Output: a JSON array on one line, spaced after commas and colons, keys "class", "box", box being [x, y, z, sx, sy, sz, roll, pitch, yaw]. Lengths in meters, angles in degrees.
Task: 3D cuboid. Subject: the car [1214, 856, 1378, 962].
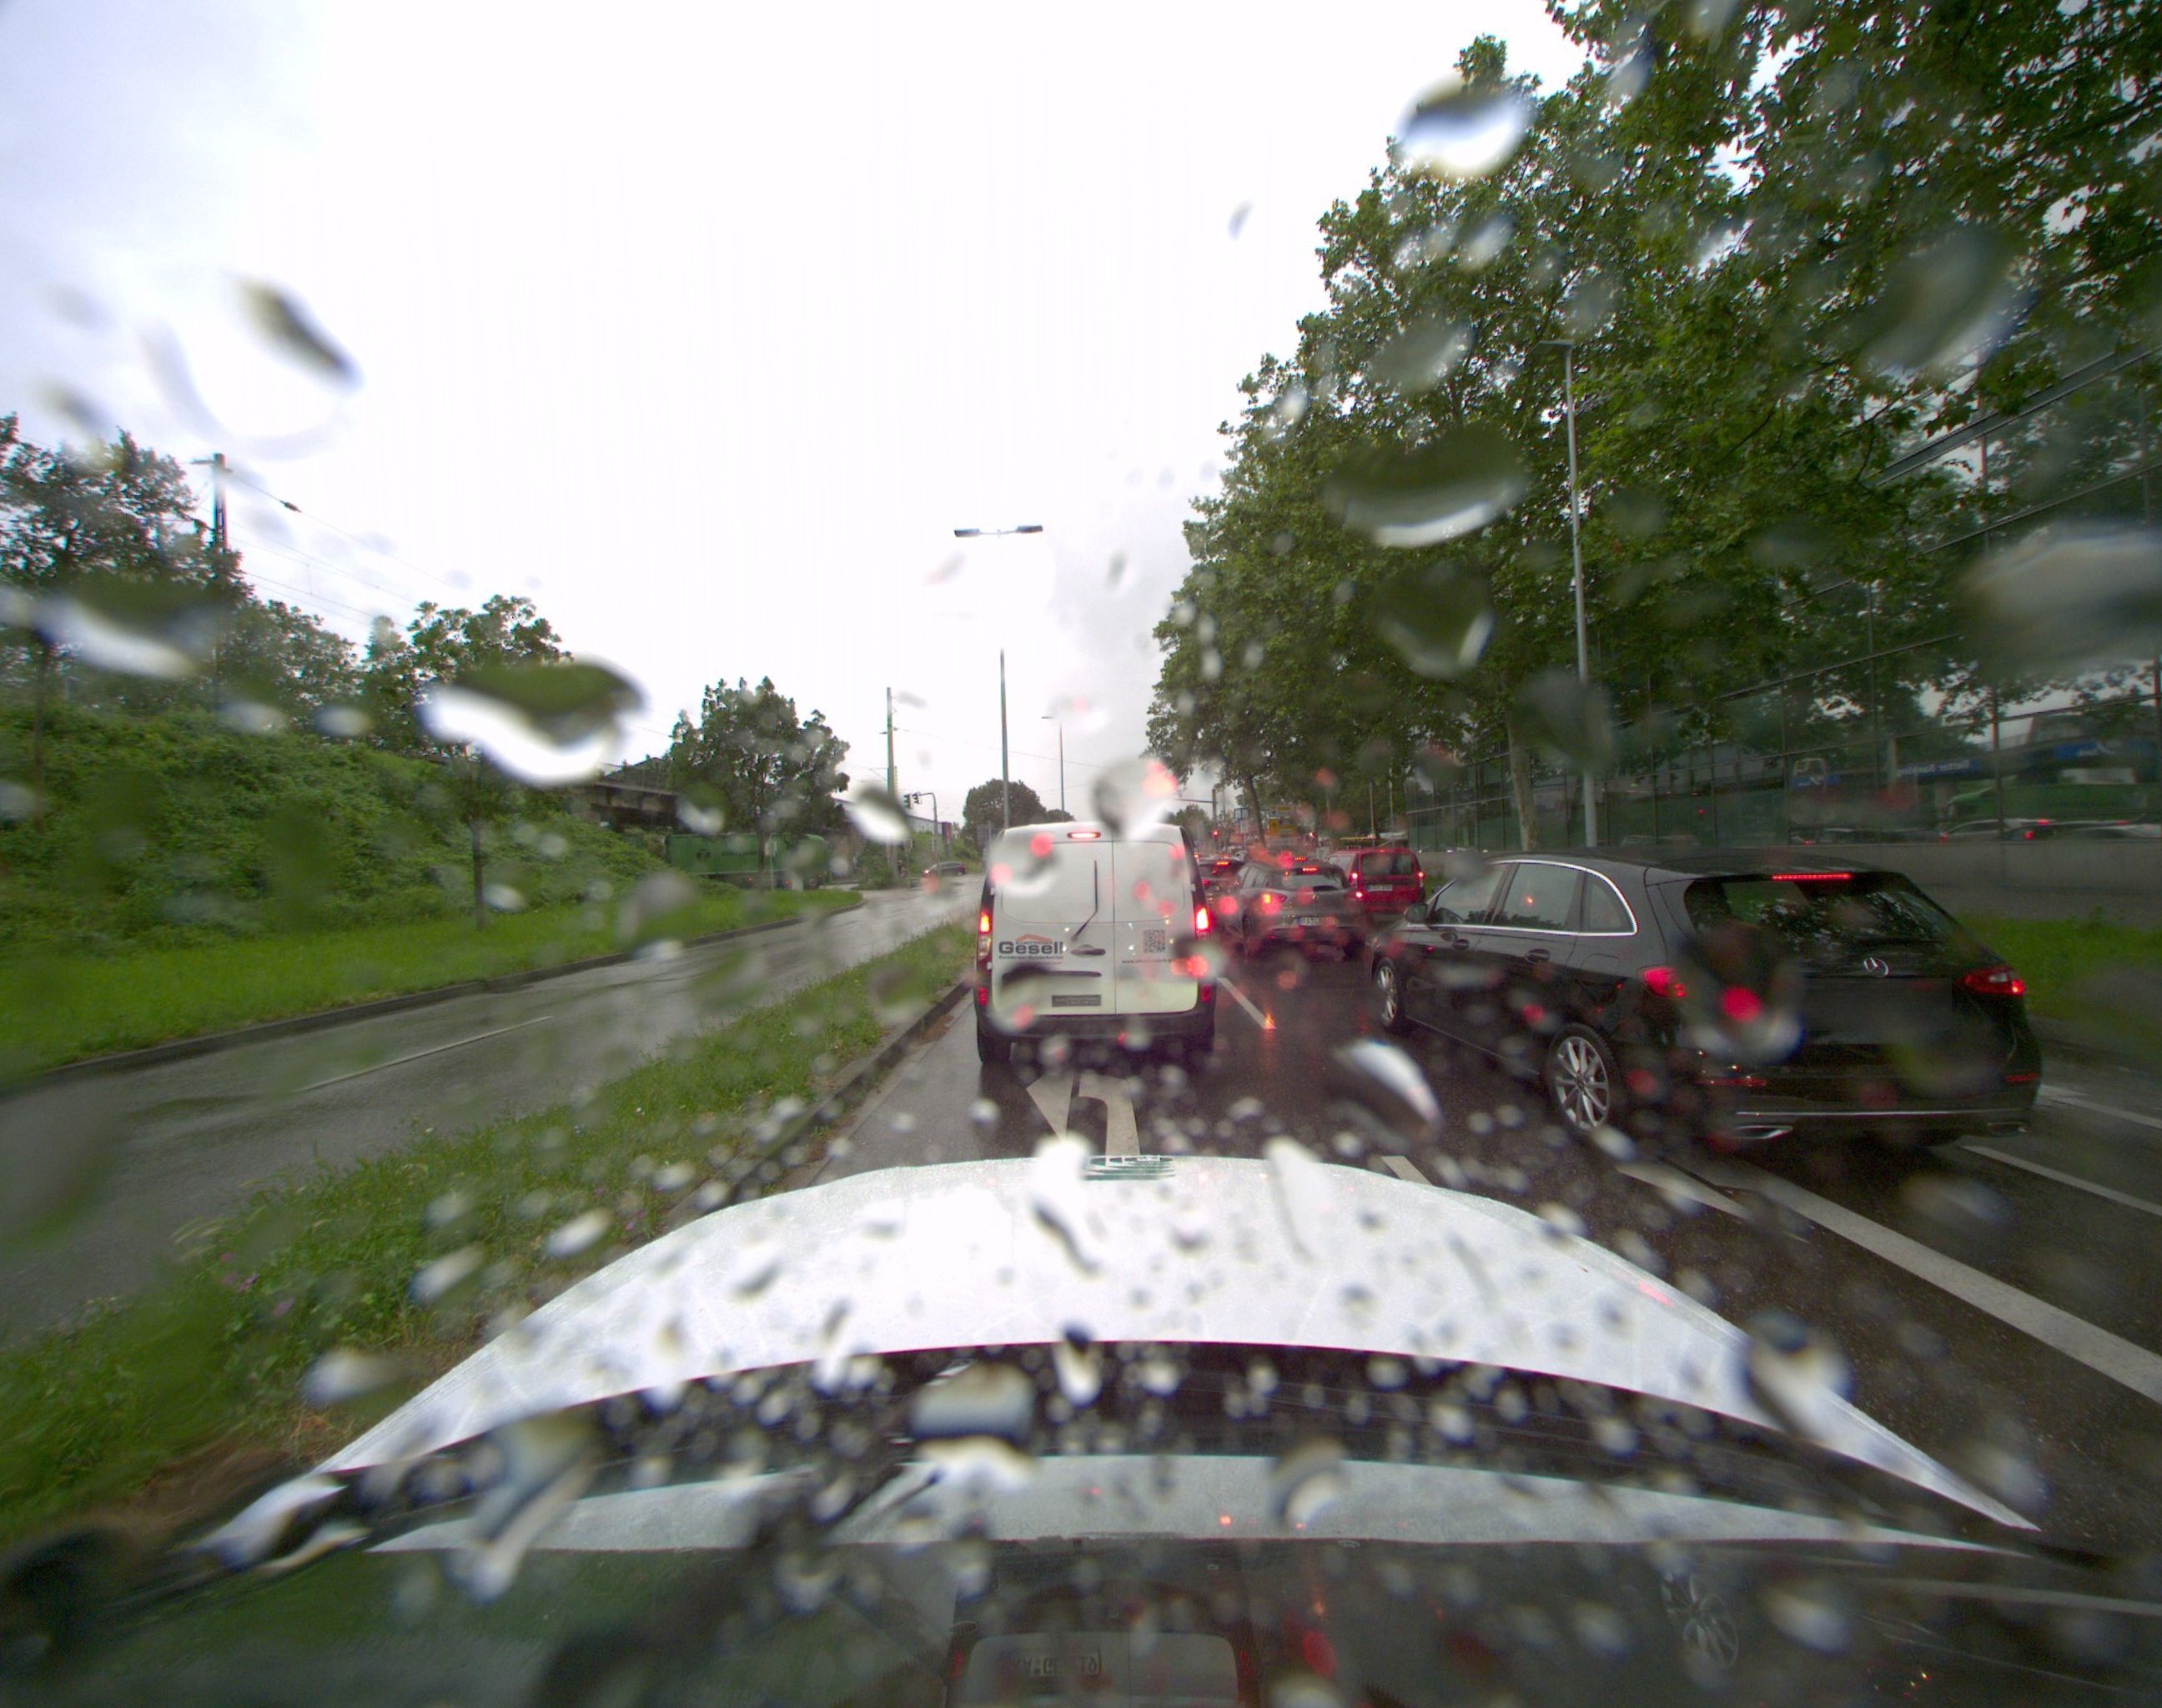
[{"class": "car", "box": [3.258, 0.758, 13.048, 1.677, 1.408, 3.844, 0, 0, 1]}]

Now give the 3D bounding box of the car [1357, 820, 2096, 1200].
[{"class": "car", "box": [3.388, 0.653, 5.449, 1.741, 1.554, 4.091, -1, 0, 1]}]

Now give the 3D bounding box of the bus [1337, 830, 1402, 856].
[{"class": "bus", "box": [43.674, -1.692, 122.934, 12.059, 3.423, 2.457, -3, 0, -34]}]

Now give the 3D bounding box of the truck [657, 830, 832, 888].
[{"class": "truck", "box": [-21.401, 0.238, 52.296, 10.105, 3.371, 2.322, -1, 0, -35]}]

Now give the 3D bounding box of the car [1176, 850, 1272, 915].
[{"class": "car", "box": [3.515, 0.652, 20.682, 1.847, 1.460, 3.844, -1, 0, 2]}]

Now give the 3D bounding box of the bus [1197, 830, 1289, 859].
[{"class": "bus", "box": [21.918, -1.311, 110.589, 11.926, 3.423, 2.316, -2, 0, 1]}]

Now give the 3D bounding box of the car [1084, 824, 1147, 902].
[{"class": "car", "box": [1.097, 0.258, 26.488, 1.847, 2.296, 3.844, -1, 0, 2]}]

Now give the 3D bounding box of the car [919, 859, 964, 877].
[{"class": "car", "box": [-14.077, 1.390, 82.449, 4.016, 1.717, 1.979, -1, 0, -34]}]

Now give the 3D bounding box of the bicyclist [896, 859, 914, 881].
[{"class": "bicyclist", "box": [-12.101, 1.102, 55.963, 1.045, 1.450, 0.723, -2, 0, -23]}]

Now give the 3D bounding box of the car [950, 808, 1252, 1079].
[{"class": "car", "box": [0.205, 0.595, 7.772, 1.986, 1.776, 4.587, -1, 0, 2]}]

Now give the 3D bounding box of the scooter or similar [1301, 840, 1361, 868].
[{"class": "scooter or similar", "box": [23.473, 0.034, 76.682, 1.905, 2.446, 5.257, -1, 0, -39]}]

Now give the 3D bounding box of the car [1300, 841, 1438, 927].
[{"class": "car", "box": [6.313, 0.622, 18.361, 1.704, 1.694, 4.273, 0, -1, 2]}]

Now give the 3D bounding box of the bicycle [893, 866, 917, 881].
[{"class": "bicycle", "box": [-12.116, 1.348, 56.022, 1.045, 0.952, 2.866, -2, 0, -22]}]

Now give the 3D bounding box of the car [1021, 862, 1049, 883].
[{"class": "car", "box": [-3.543, 1.426, 63.887, 1.810, 1.462, 4.001, -4, 0, 1]}]

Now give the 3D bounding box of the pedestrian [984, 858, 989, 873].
[{"class": "pedestrian", "box": [-11.218, 1.394, 96.606, 0.541, 1.716, 0.563, 0, -1, -2]}]
